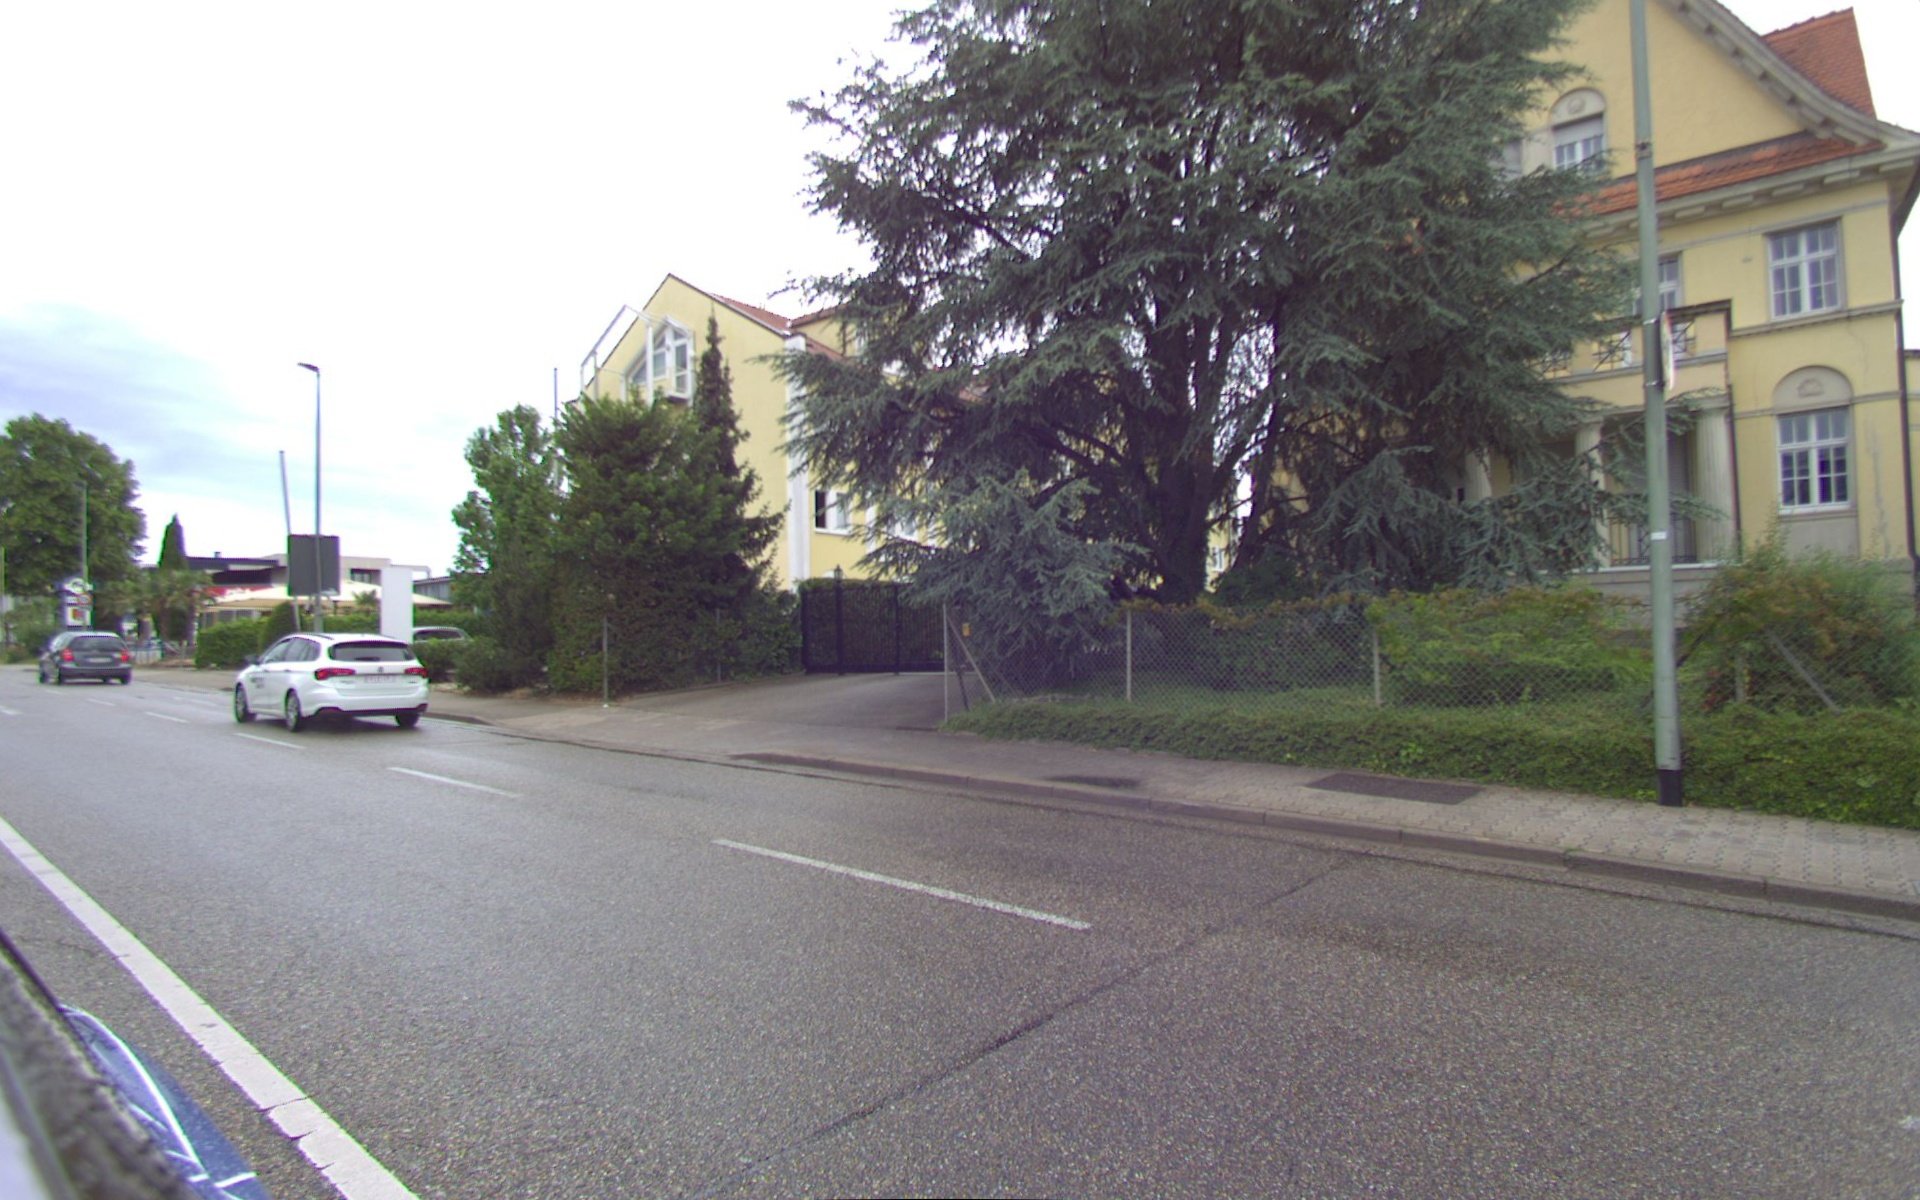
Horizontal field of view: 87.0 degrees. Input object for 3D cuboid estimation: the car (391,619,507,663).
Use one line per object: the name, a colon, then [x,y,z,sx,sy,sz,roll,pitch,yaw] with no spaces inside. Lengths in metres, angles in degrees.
car: [-20.636,1.627,40.947,3.876,1.664,1.720,1,-2,-44]

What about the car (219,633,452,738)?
car: [-10.229,1.286,16.467,4.305,1.465,1.947,-1,-3,40]

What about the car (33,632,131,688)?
car: [-26.819,1.815,30.892,3.547,1.611,1.682,-2,-5,40]
